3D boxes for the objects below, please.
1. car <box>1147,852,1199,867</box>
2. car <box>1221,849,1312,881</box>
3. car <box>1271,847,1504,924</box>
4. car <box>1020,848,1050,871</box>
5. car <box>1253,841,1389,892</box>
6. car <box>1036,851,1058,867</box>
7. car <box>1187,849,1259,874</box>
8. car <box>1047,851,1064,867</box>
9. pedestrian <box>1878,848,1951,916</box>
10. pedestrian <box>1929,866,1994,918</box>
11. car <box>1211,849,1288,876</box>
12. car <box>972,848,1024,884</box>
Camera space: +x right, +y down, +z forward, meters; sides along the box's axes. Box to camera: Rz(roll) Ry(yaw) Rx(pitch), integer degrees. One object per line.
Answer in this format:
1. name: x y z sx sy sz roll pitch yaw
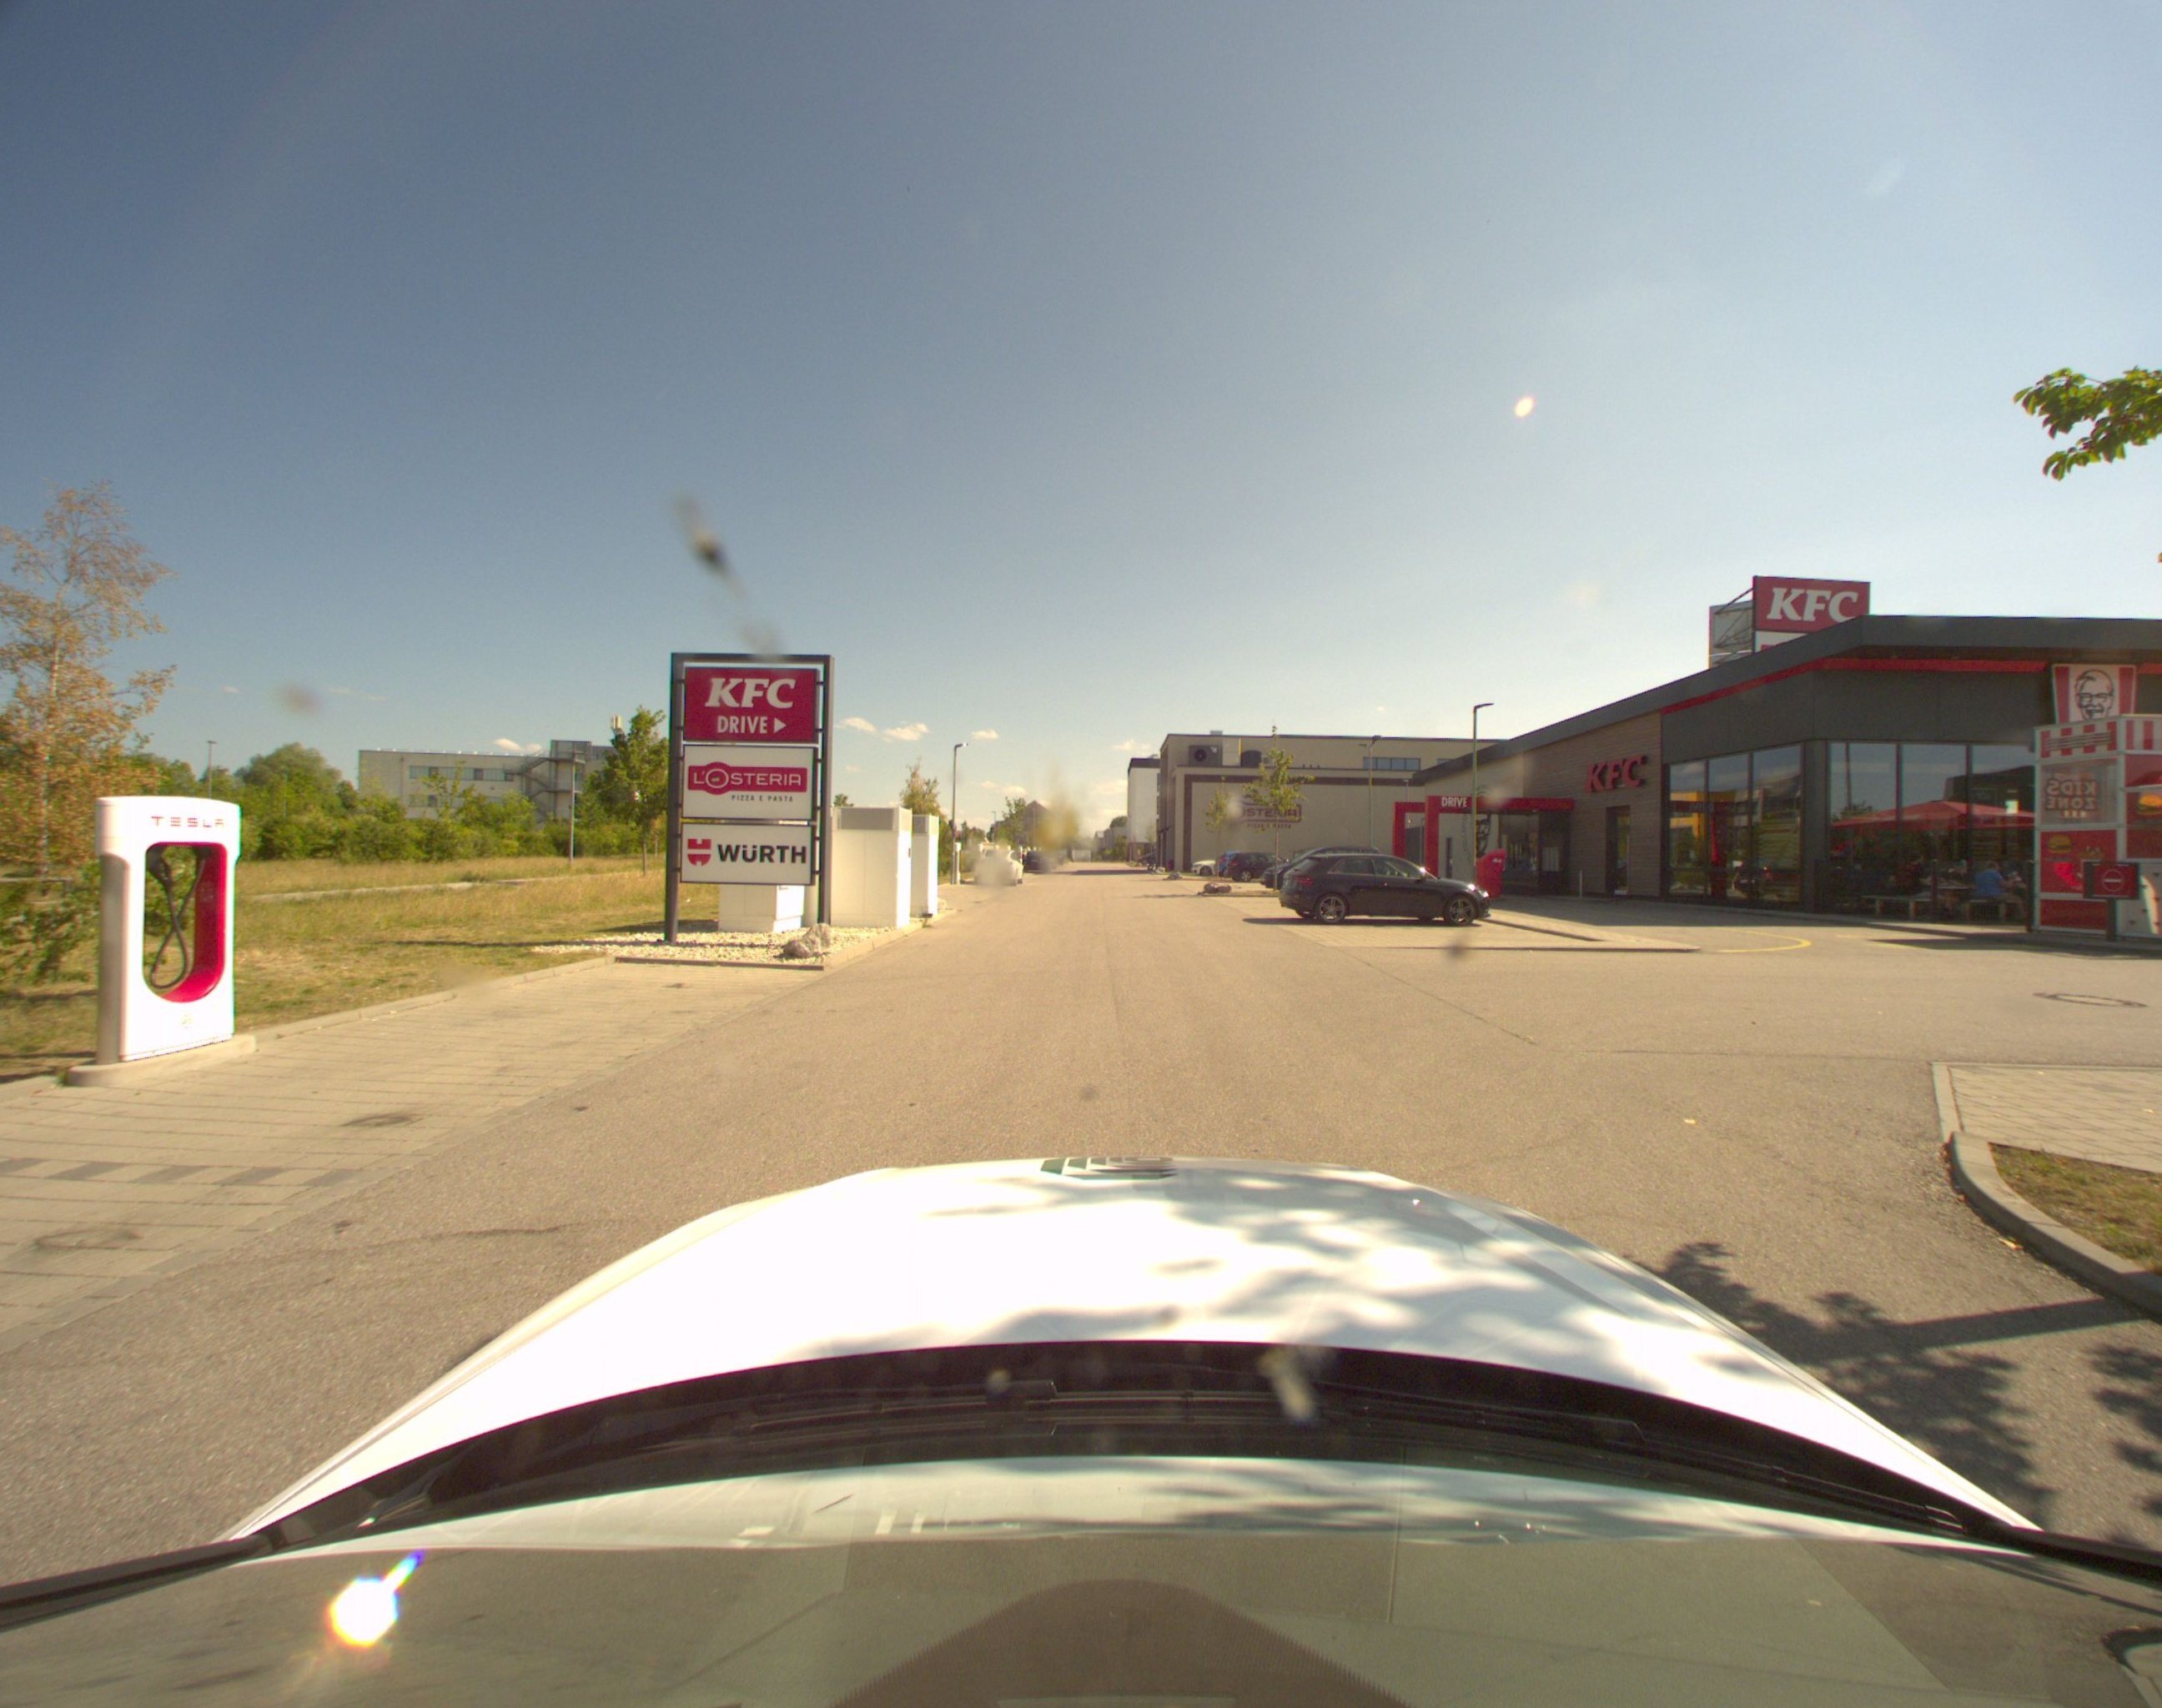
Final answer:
1. car: 7.319 0.398 65.171 3.975 1.156 1.999 0 0 -1
2. car: 8.832 0.525 38.967 3.977 1.420 1.649 1 0 -3
3. car: 6.222 0.614 16.845 4.187 1.441 1.698 1 0 0
4. car: -3.304 0.379 59.425 1.939 1.568 3.999 1 0 0
5. car: 8.511 0.434 29.088 4.362 1.685 1.639 1 0 -5
6. car: -2.958 0.415 71.305 1.737 1.387 3.999 1 0 -1
7. car: 8.442 0.441 48.639 3.977 1.420 1.649 1 0 -3
8. car: -2.700 0.526 88.262 1.737 1.568 3.999 1 0 -1
9. pedestrian: 18.012 0.591 17.613 0.795 1.435 0.772 0 0 -2
10. pedestrian: 18.894 0.813 17.483 0.713 1.071 0.628 0 0 -2
11. car: 9.475 0.476 45.862 3.977 1.420 1.649 1 0 -3
12. car: -3.811 0.526 38.041 1.938 1.568 4.000 1 0 0
